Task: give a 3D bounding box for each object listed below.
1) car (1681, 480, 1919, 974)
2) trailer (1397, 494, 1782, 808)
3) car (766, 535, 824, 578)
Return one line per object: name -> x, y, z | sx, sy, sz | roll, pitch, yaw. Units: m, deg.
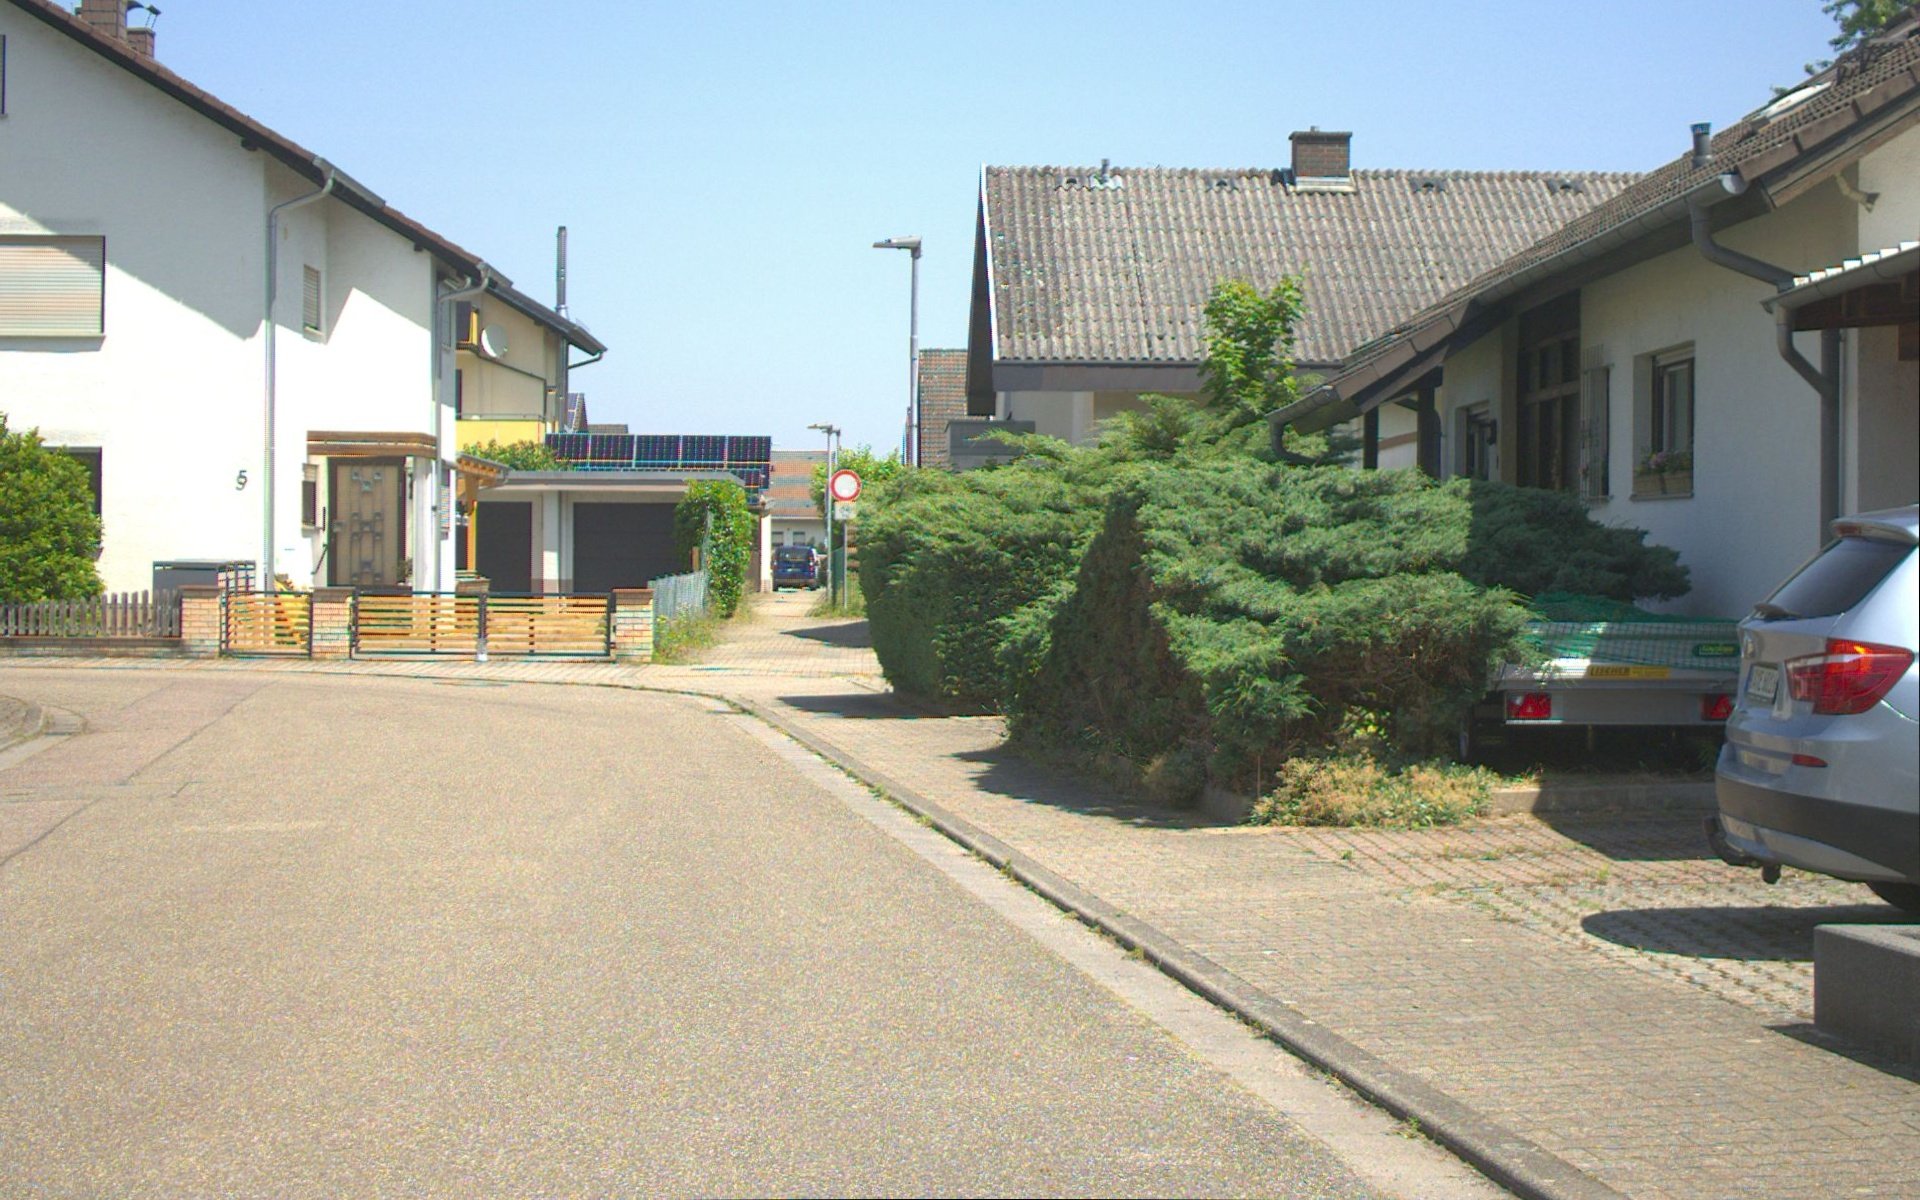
car -> 5.150, 0.387, 12.663 | 4.627, 1.696, 1.709 | -1, 1, 2
trailer -> 3.612, 0.231, 20.218 | 1.587, 1.666, 3.297 | -1, 2, -1
car -> -6.628, -1.743, 138.167 | 2.193, 1.695, 3.807 | 0, 1, -1
